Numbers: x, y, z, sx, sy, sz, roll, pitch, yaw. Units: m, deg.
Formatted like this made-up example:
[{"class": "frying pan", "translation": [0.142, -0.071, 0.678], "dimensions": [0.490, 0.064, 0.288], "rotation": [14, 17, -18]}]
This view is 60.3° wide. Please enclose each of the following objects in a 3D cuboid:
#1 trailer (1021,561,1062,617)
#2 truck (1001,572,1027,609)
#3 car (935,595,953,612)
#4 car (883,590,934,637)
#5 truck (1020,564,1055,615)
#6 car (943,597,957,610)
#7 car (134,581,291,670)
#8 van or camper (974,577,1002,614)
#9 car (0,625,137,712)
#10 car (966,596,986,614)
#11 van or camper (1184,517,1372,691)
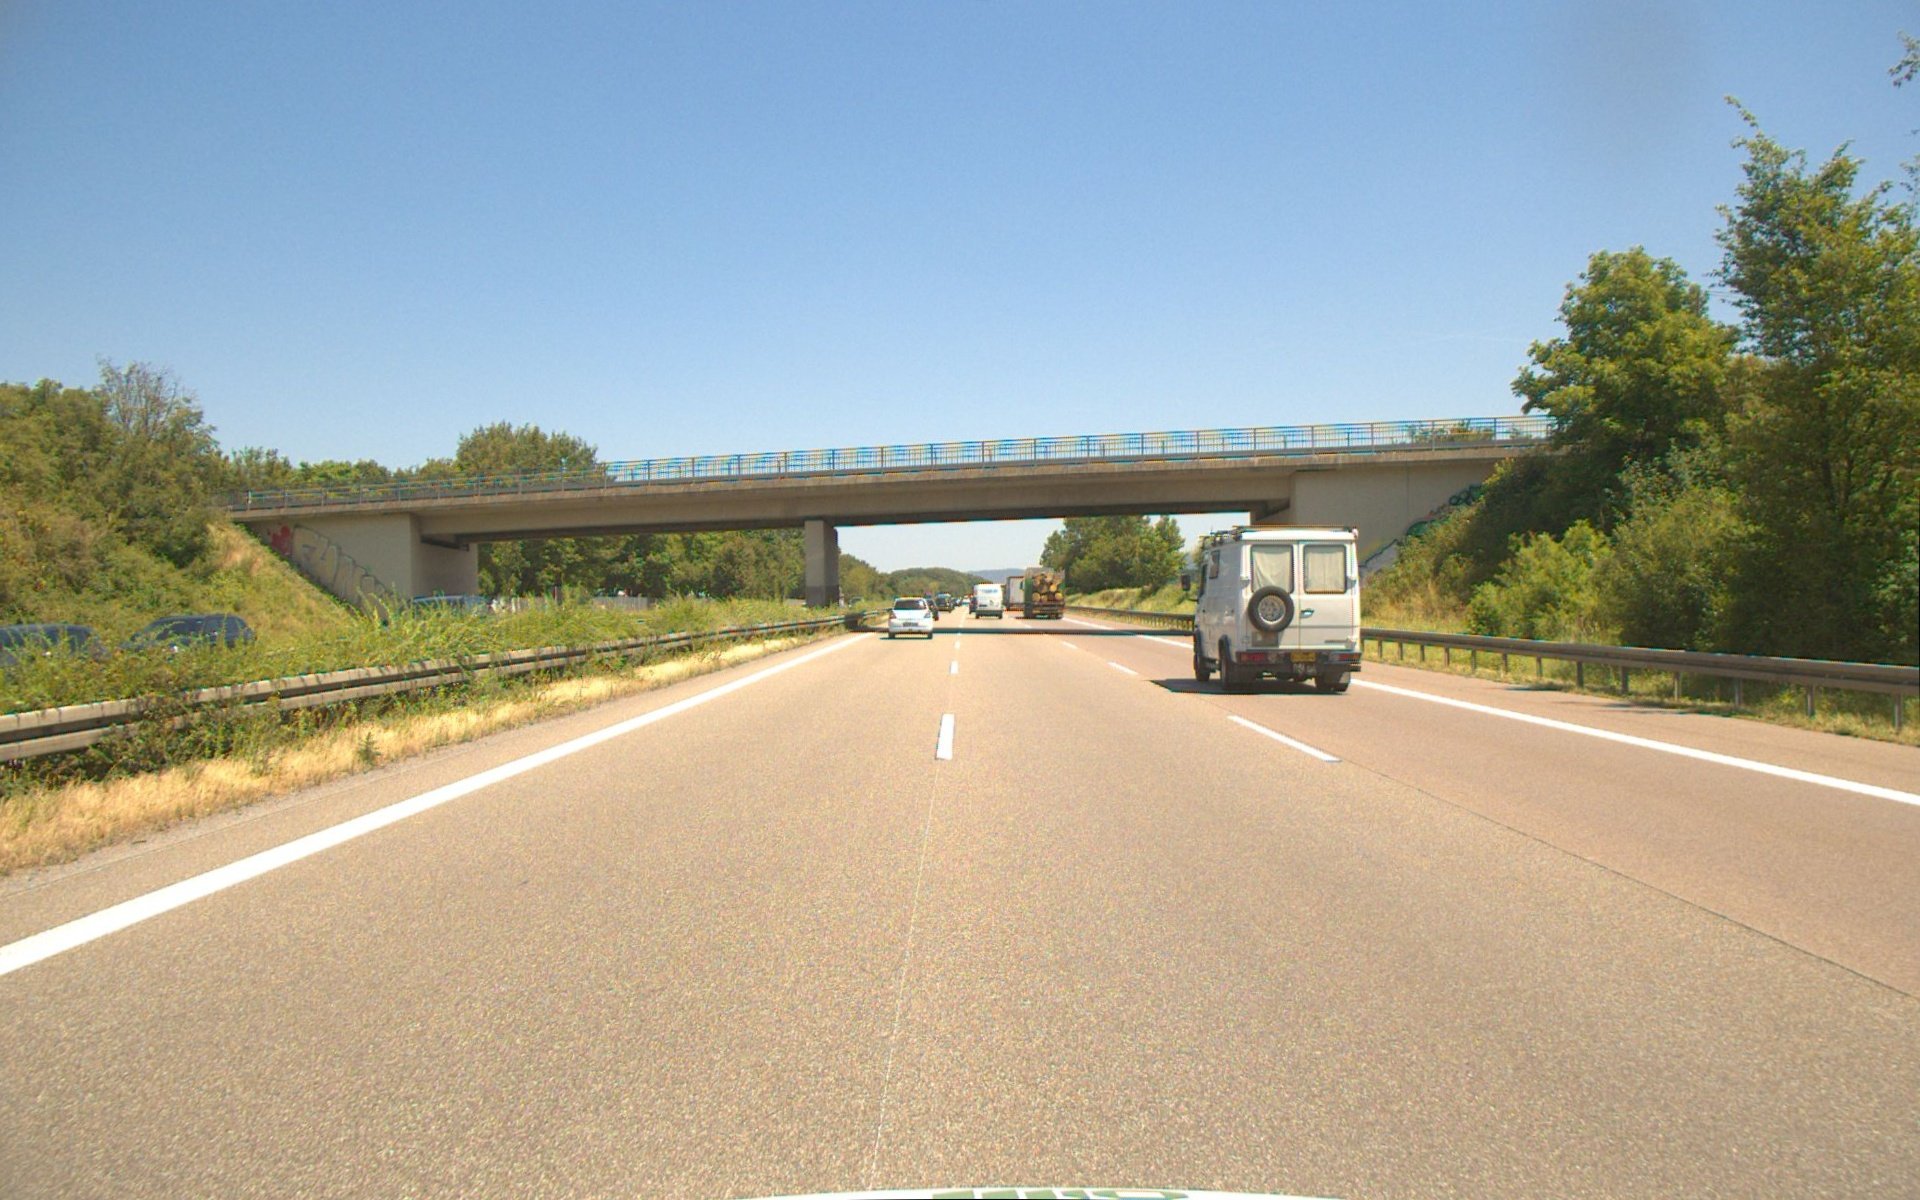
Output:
[{"class": "trailer", "translation": [6.152, -0.781, 126.760], "dimensions": [2.598, 4.028, 13.637], "rotation": [0, 0, 1]}, {"class": "truck", "translation": [6.606, -1.106, 204.296], "dimensions": [3.015, 4.283, 16.845], "rotation": [1, 0, 1]}, {"class": "car", "translation": [-1.596, 0.361, 168.034], "dimensions": [1.819, 1.681, 3.999], "rotation": [0, 0, -1]}, {"class": "car", "translation": [-1.899, 0.494, 62.379], "dimensions": [1.819, 1.681, 3.999], "rotation": [1, 0, -1]}, {"class": "truck", "translation": [6.252, -0.834, 133.784], "dimensions": [2.615, 4.064, 6.636], "rotation": [0, 0, 1]}, {"class": "car", "translation": [-1.345, 0.470, 218.473], "dimensions": [1.819, 1.681, 3.999], "rotation": [0, 0, -1]}, {"class": "car", "translation": [-18.241, 0.595, 40.570], "dimensions": [1.952, 2.049, 4.001], "rotation": [-1, 0, 2]}, {"class": "van or camper", "translation": [2.102, -0.318, 123.050], "dimensions": [2.016, 2.668, 5.985], "rotation": [0, 0, 1]}, {"class": "car", "translation": [-15.107, 1.084, 27.234], "dimensions": [1.397, 1.274, 3.285], "rotation": [1, 0, 1]}, {"class": "car", "translation": [1.507, 0.470, 159.306], "dimensions": [1.819, 1.681, 3.999], "rotation": [0, 0, -1]}, {"class": "van or camper", "translation": [5.463, 0.074, 29.346], "dimensions": [2.070, 2.750, 6.367], "rotation": [0, 0, 0]}]
